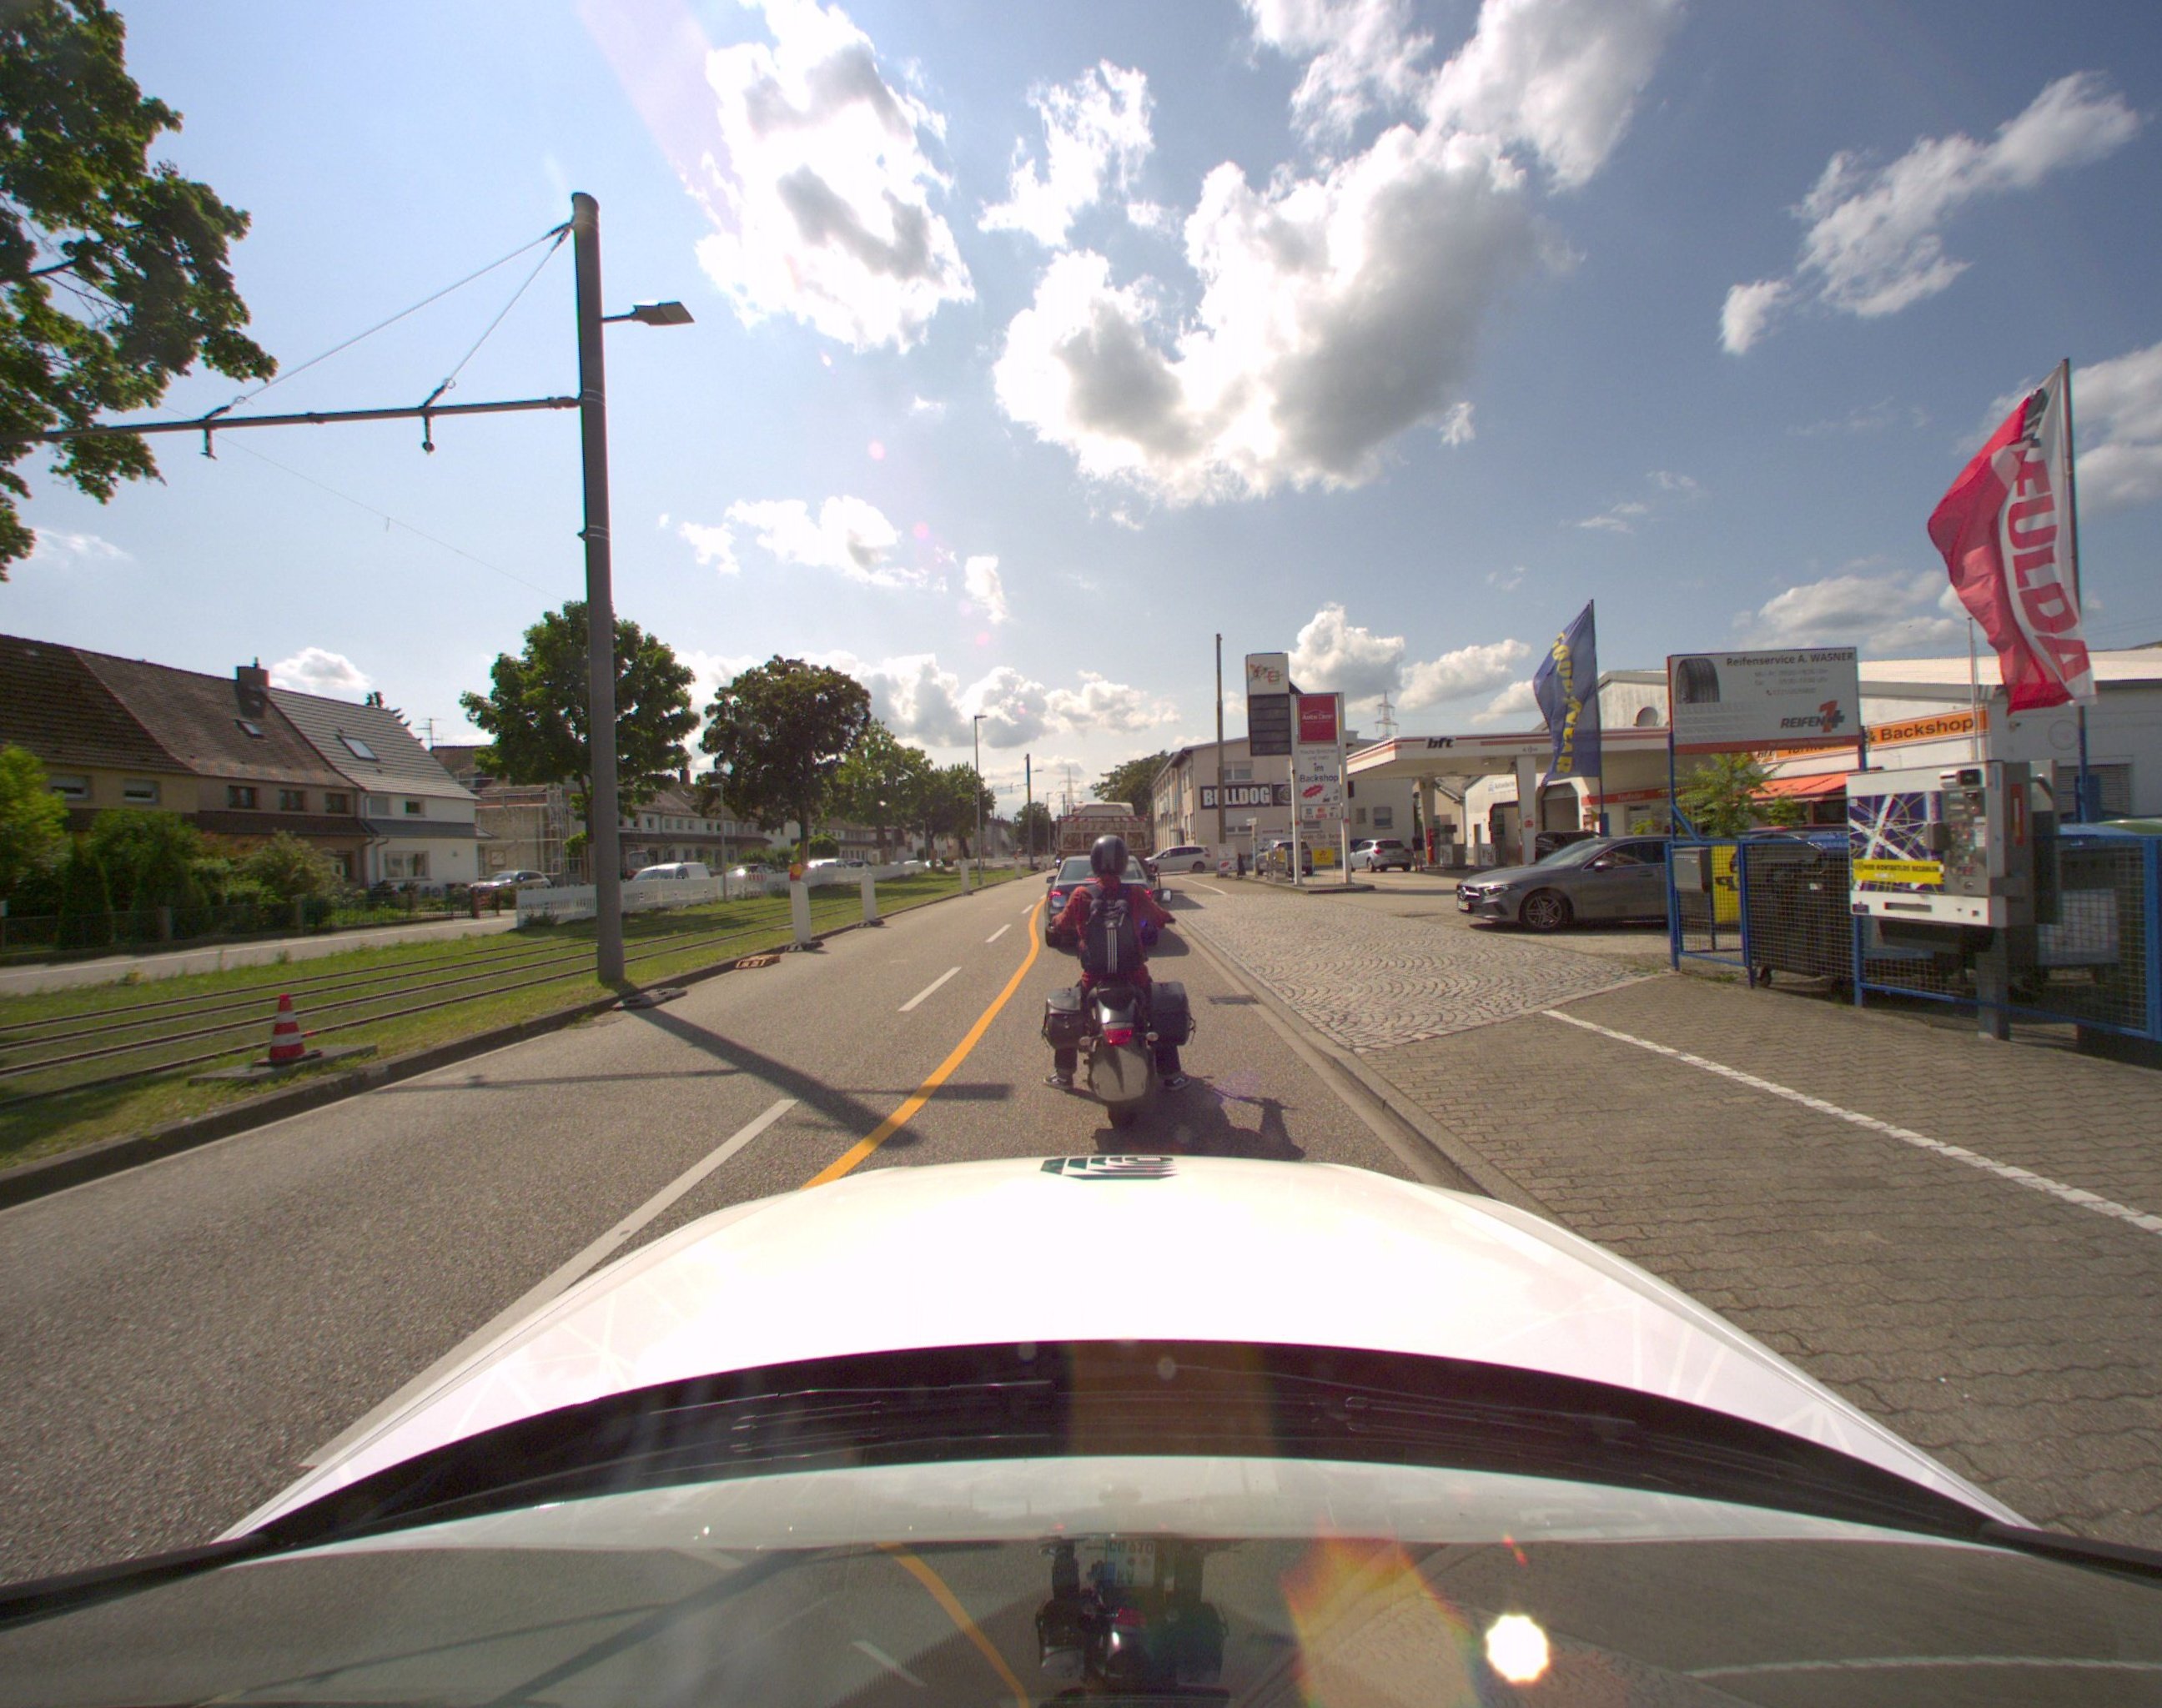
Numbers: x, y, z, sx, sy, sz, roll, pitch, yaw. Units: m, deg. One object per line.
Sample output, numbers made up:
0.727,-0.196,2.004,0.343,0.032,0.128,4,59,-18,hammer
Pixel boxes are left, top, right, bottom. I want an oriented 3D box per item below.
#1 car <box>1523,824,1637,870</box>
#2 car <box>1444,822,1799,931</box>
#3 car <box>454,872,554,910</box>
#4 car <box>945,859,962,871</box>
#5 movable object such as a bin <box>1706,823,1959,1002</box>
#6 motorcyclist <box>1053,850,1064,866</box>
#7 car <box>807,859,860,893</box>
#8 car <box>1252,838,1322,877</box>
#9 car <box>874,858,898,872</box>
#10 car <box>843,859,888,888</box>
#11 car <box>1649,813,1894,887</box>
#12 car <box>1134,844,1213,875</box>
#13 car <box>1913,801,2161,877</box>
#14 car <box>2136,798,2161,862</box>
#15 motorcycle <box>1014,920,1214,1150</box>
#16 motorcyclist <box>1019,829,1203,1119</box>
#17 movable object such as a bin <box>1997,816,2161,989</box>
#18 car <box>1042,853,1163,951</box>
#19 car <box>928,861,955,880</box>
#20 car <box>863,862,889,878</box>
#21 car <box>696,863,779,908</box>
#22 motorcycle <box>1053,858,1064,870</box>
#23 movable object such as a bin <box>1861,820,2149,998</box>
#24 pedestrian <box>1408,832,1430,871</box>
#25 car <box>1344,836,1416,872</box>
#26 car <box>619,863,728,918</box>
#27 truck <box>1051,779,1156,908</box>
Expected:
18.124,-0.245,29.789,1.800,1.503,3.833,-2,0,0,car
8.131,0.341,12.632,4.247,1.415,1.678,-2,0,9,car
-27.433,1.726,38.897,1.769,1.519,4.002,-2,0,2,car
-19.635,1.638,125.920,1.769,1.722,4.130,-2,0,2,car
6.695,0.479,7.363,1.104,1.436,1.244,-2,0,1,movable object such as a bin
-1.931,0.341,69.699,0.866,1.378,0.800,-2,0,-1,motorcyclist
-15.061,1.328,49.864,1.769,1.867,4.130,-2,0,2,car
9.120,0.152,36.457,1.665,1.562,4.235,-2,0,-6,car
-25.160,1.404,105.206,1.769,1.722,4.130,-2,0,2,car
-14.801,1.336,56.041,1.769,1.805,4.130,-2,0,2,car
15.779,-0.087,18.763,4.180,1.463,1.587,-2,0,2,car
5.304,0.309,47.058,4.225,1.543,1.669,-2,0,-7,car
21.528,-0.338,18.170,4.180,1.463,1.587,-2,0,2,car
26.532,-0.634,18.008,4.180,1.463,1.587,-2,0,2,car
0.210,1.025,5.449,0.975,0.897,2.654,-2,0,2,motorcycle
0.186,0.676,5.145,0.975,1.602,1.088,-2,0,1,motorcyclist
9.492,0.375,7.135,1.397,1.396,1.338,-2,0,1,movable object such as a bin
0.387,0.729,14.267,1.816,1.452,4.002,0,0,2,car
-13.727,1.634,80.458,1.769,1.722,4.130,-2,0,2,car
-24.388,1.841,97.045,1.769,1.722,4.130,-2,0,2,car
-15.404,1.384,36.802,1.769,1.774,4.230,-2,0,2,car
-1.915,0.837,69.771,0.866,1.021,2.244,-2,0,-1,motorcycle
8.089,0.445,7.223,1.104,1.396,1.244,-2,0,1,movable object such as a bin
14.656,-0.130,35.323,0.701,1.656,0.551,-2,0,37,pedestrian
13.481,-0.006,36.924,1.800,1.503,3.832,-2,0,-1,car
-15.432,1.316,31.158,1.769,1.821,4.366,-2,0,2,car
0.732,-0.287,25.504,2.628,3.296,8.059,-2,0,2,truck
